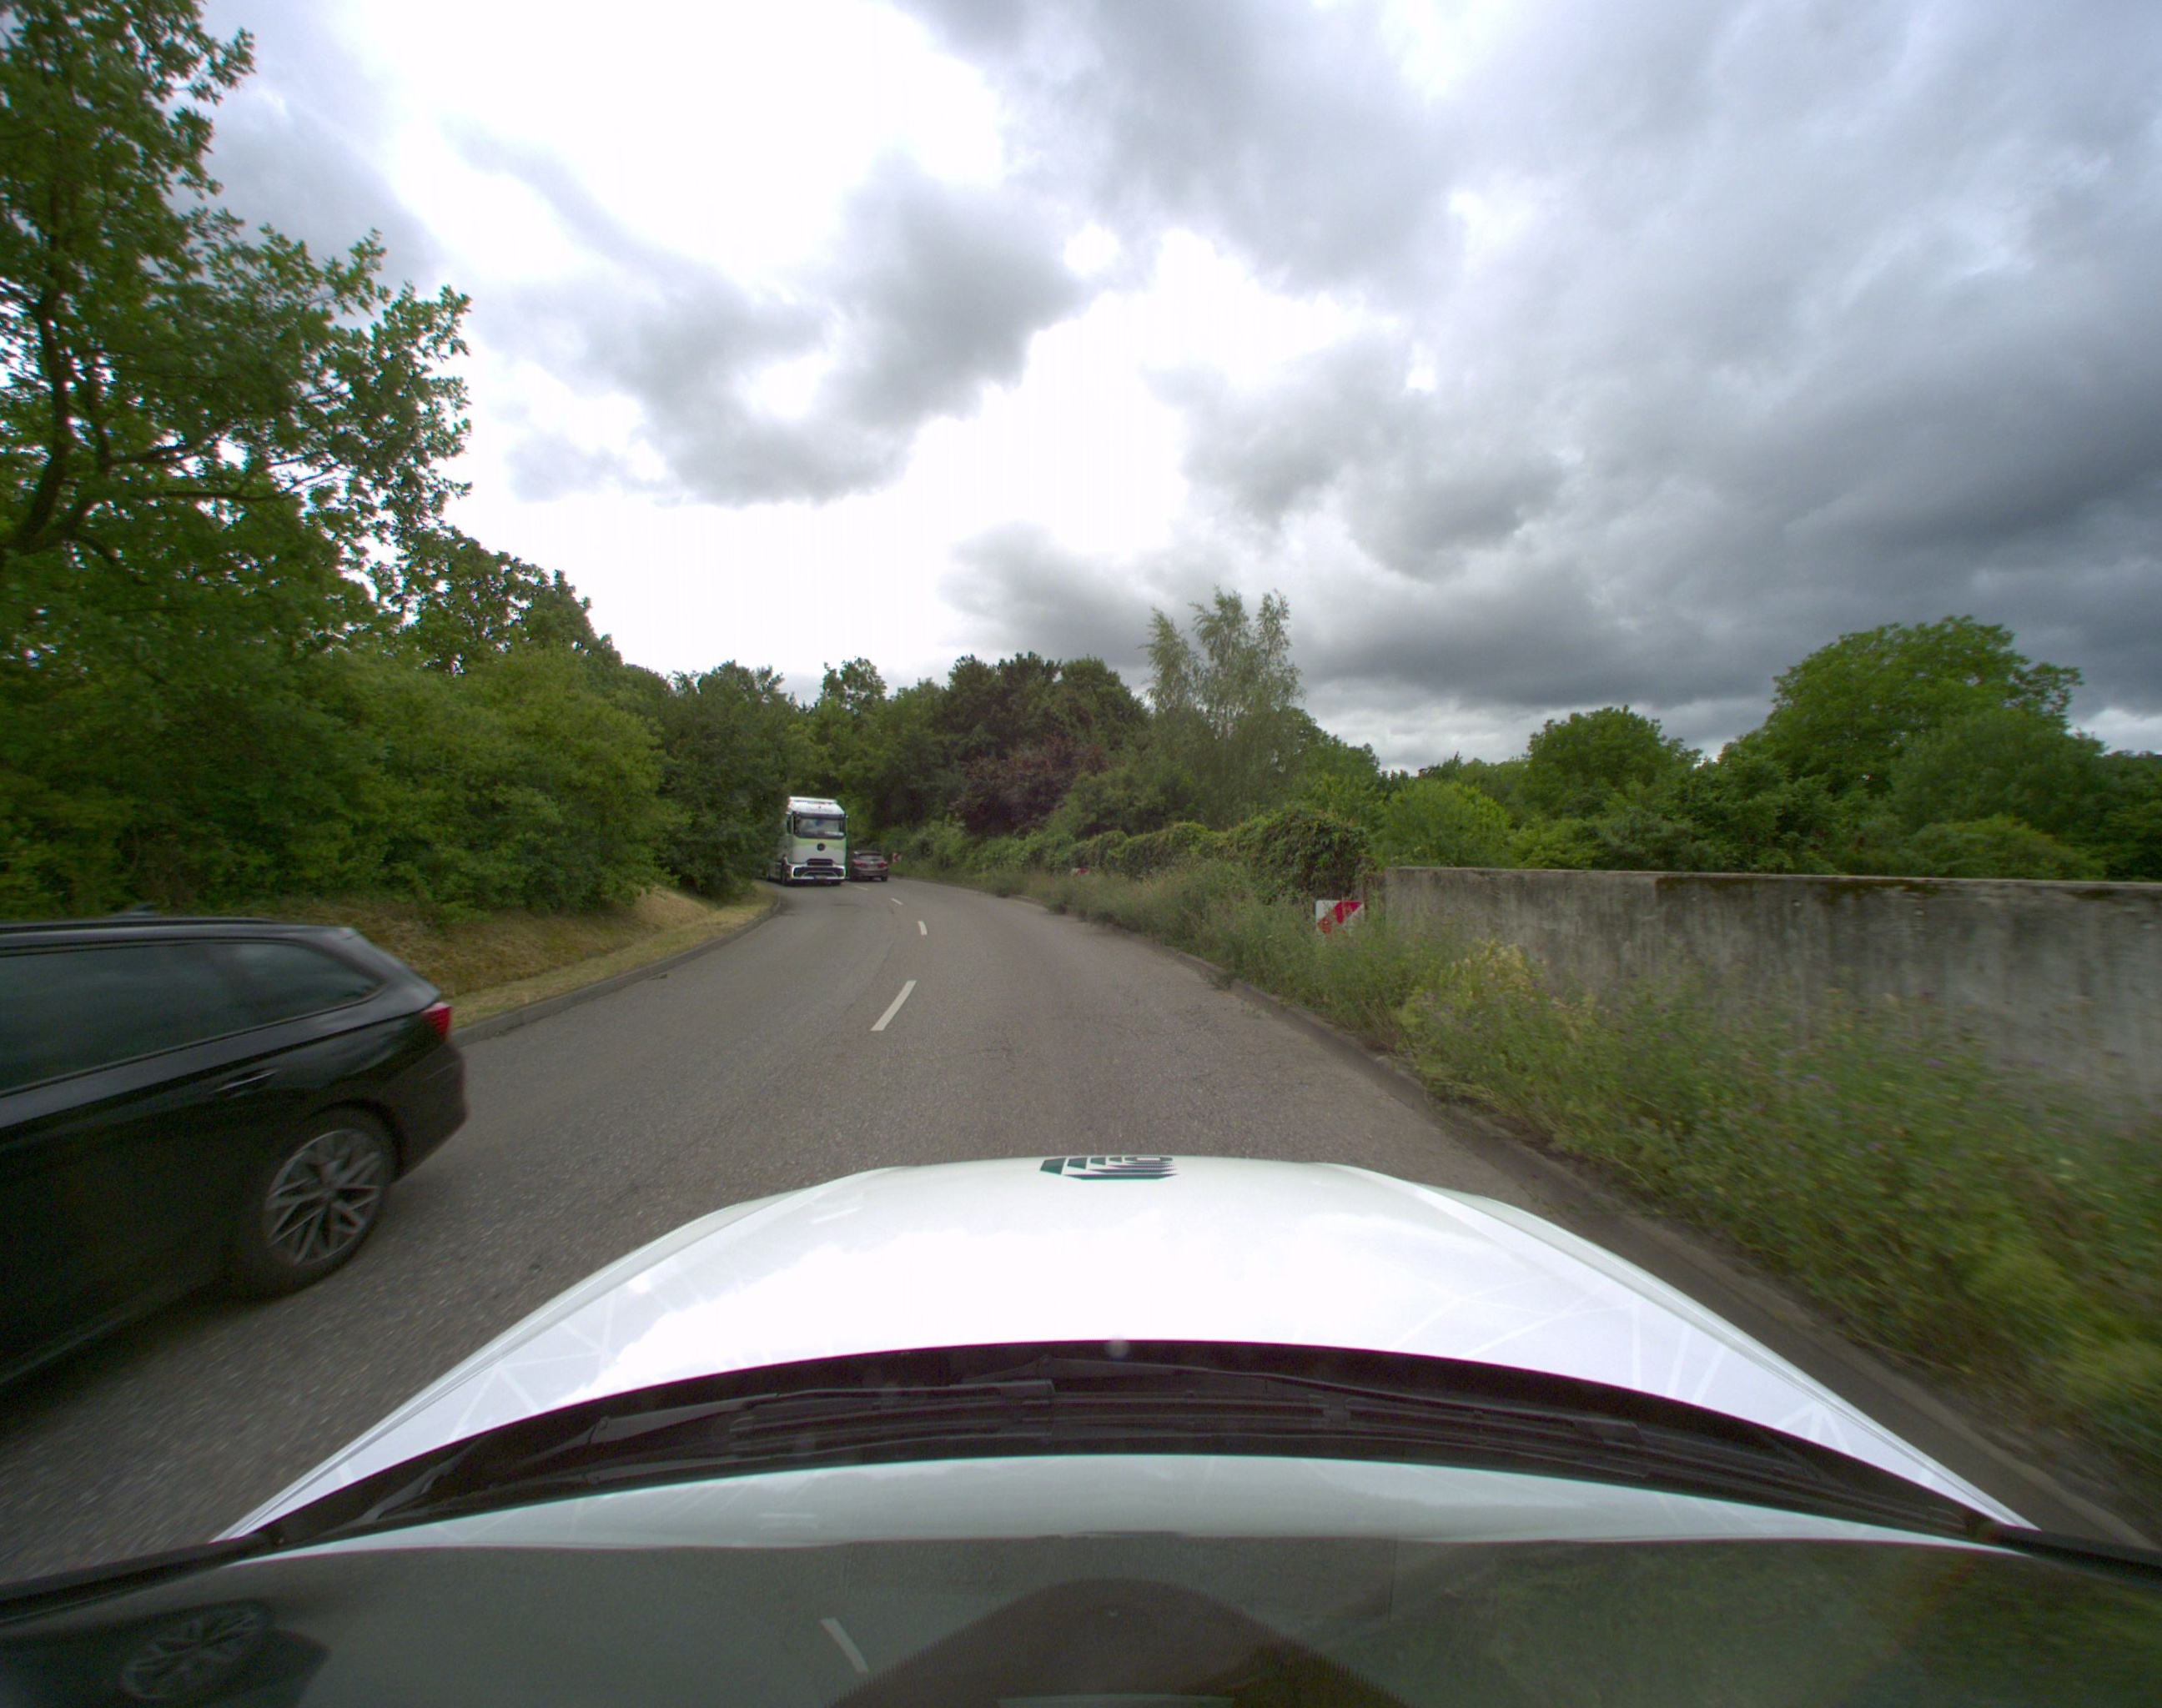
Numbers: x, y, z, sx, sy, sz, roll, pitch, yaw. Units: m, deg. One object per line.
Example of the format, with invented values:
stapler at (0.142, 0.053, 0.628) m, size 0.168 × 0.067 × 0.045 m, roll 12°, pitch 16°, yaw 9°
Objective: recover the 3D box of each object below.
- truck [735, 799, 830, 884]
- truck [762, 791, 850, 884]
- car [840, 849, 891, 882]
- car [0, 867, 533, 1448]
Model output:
truck at (-16.695, -0.390, 44.623) m, size 2.721 × 3.950 × 13.702 m, roll -1°, pitch -1°, yaw -29°
truck at (-12.903, -0.635, 37.853) m, size 2.721 × 3.950 × 6.269 m, roll -1°, pitch -1°, yaw -29°
car at (-10.842, 0.600, 40.728) m, size 1.848 × 1.483 × 3.968 m, roll -3°, pitch -1°, yaw -23°
car at (-3.674, 0.818, 2.067) m, size 1.733 × 1.495 × 4.428 m, roll -2°, pitch -1°, yaw -4°
